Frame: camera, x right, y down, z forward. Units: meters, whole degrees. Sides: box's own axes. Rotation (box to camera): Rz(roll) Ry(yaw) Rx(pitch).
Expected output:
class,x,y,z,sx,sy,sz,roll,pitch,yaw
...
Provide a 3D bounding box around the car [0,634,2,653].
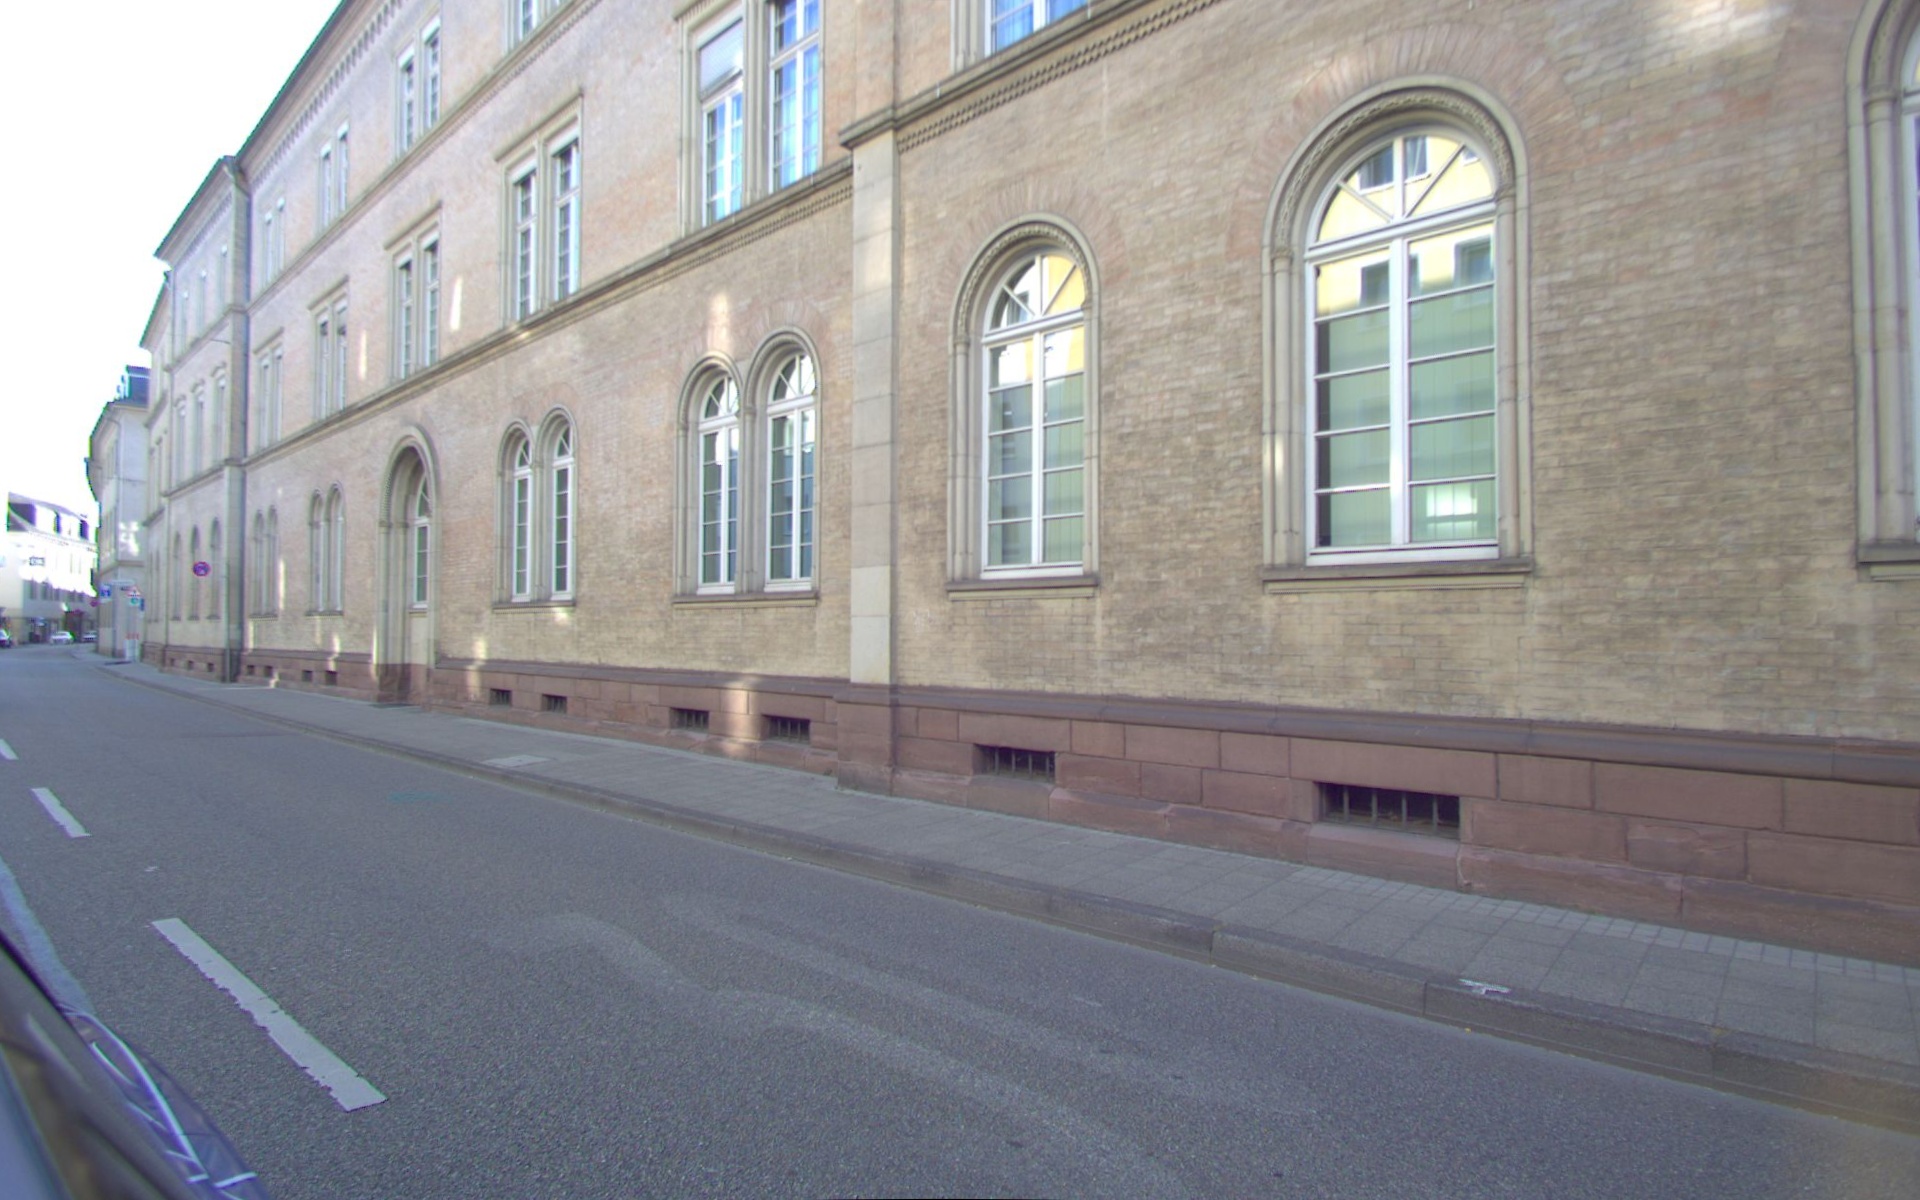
class,x,y,z,sx,sy,sz,roll,pitch,yaw
car,-86.613,3.883,89.951,1.969,1.665,4.235,-1,0,-41

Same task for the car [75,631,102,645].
class,x,y,z,sx,sy,sz,roll,pitch,yaw
car,-109.229,4.749,126.828,1.966,1.665,4.240,-1,0,-33

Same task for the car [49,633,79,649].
class,x,y,z,sx,sy,sz,roll,pitch,yaw
car,-102.855,4.672,116.176,1.966,1.665,4.240,-1,0,-33
